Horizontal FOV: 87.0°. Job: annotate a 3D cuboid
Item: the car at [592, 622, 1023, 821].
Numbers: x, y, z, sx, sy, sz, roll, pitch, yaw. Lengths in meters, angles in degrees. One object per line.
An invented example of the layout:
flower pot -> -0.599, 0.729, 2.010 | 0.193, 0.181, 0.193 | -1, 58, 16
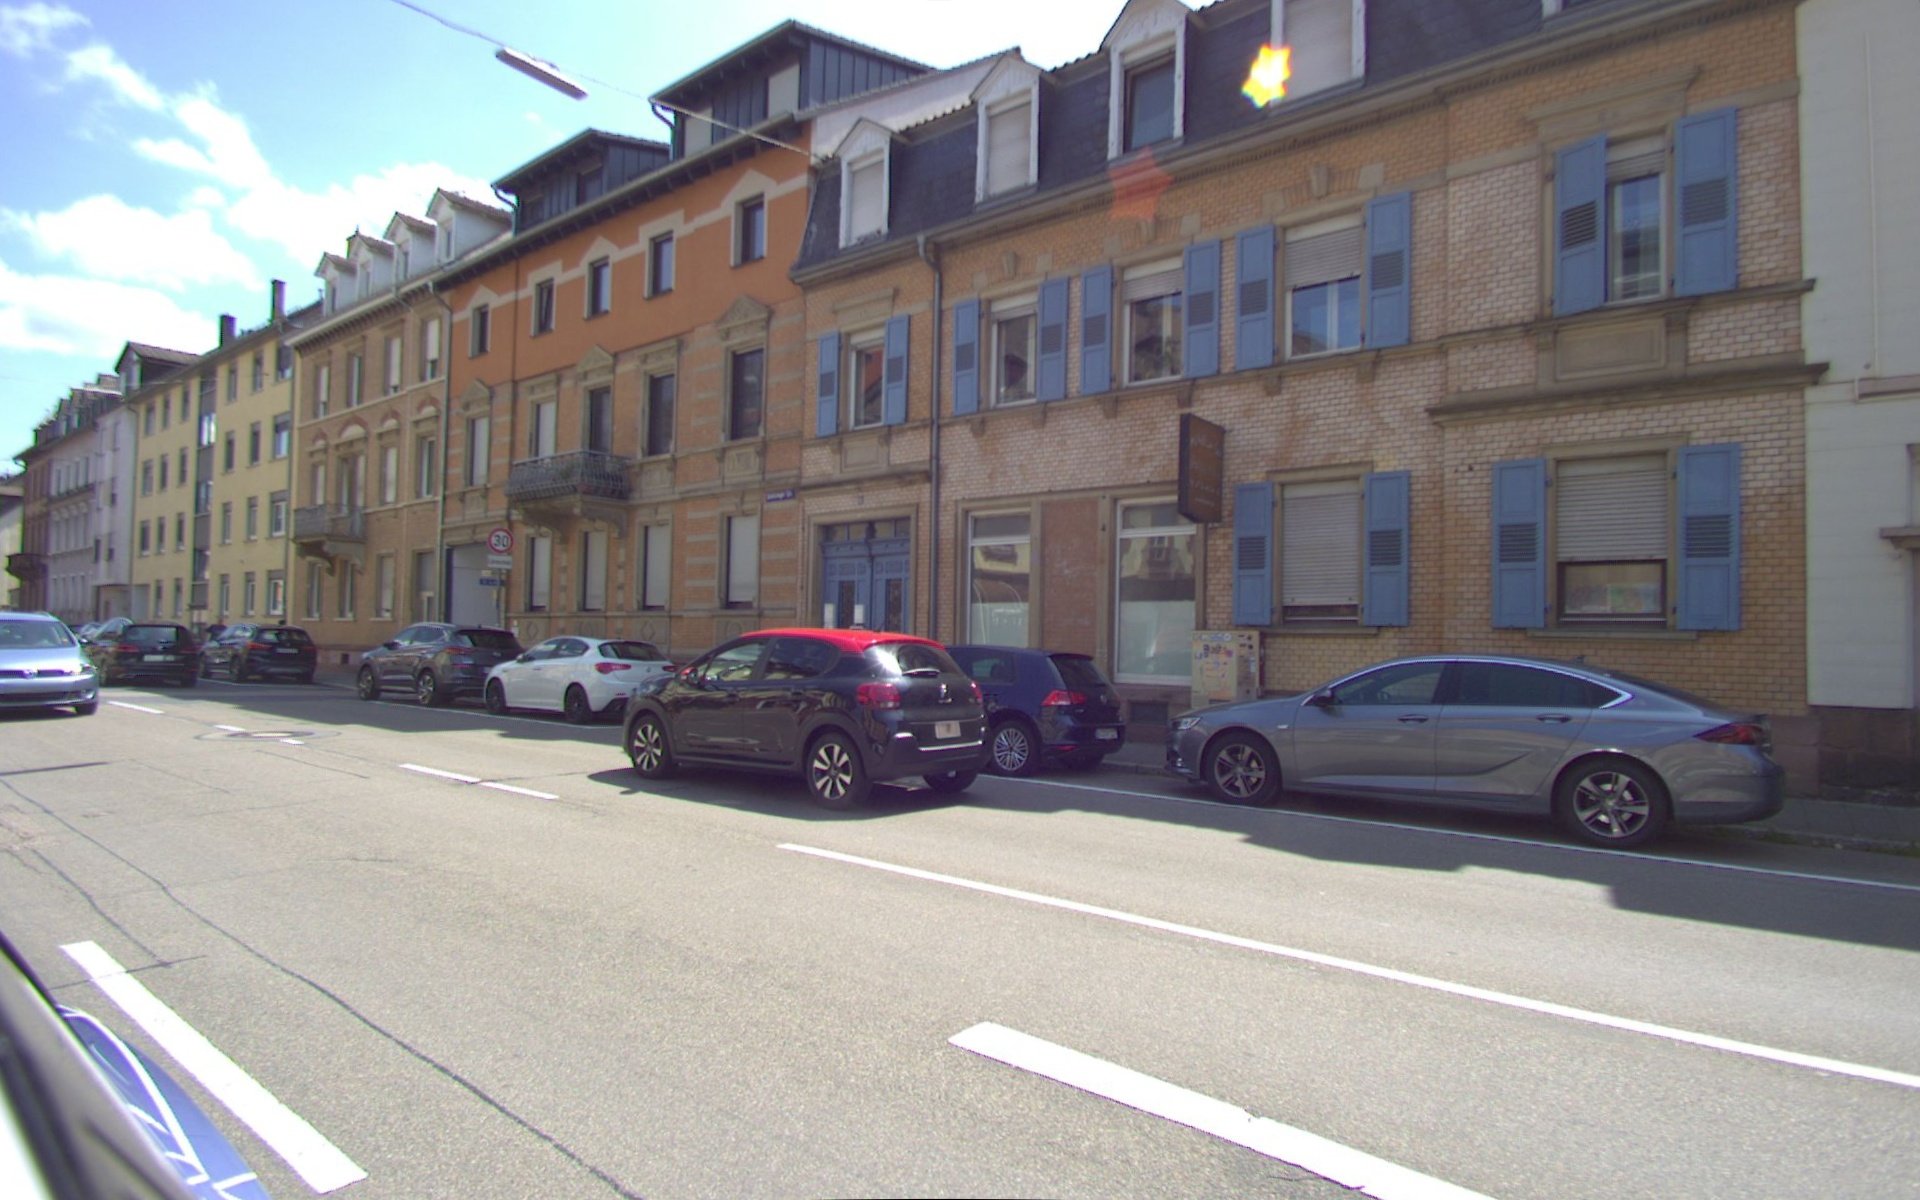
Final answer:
car -> -1.578, 0.988, 9.593 | 4.129, 1.489, 1.685 | -1, -4, 39

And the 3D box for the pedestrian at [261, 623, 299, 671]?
pedestrian -> -22.253, 1.547, 33.110 | 0.876, 1.546, 0.794 | -1, -4, 43

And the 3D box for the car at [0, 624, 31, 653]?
car -> -49.988, 1.949, 52.445 | 4.504, 1.421, 1.729 | 0, -6, 36

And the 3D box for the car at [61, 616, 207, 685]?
car -> -19.866, 1.191, 24.299 | 4.239, 1.506, 1.743 | -1, -4, 38

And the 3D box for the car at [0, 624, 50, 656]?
car -> -45.762, 1.922, 49.071 | 4.280, 1.421, 1.727 | -1, -6, 40

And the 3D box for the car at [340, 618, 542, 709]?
car -> -10.730, 1.278, 20.805 | 4.493, 1.640, 1.847 | -1, -6, 37

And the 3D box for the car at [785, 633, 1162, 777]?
car -> 0.086, 1.220, 12.450 | 4.321, 1.417, 1.848 | 0, -6, 36

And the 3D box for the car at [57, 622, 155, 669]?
car -> -31.930, 1.674, 37.807 | 4.308, 1.563, 1.847 | -1, -6, 39

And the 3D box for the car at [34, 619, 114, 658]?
car -> -35.859, 1.548, 40.938 | 3.911, 1.421, 1.727 | -1, -6, 40

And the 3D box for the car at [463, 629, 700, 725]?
car -> -6.693, 1.319, 17.718 | 4.325, 1.437, 1.847 | -1, -6, 38

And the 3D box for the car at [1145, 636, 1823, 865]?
car -> 4.243, 1.129, 8.830 | 4.828, 1.417, 1.848 | 0, -6, 36

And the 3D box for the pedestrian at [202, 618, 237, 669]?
pedestrian -> -25.827, 1.514, 35.298 | 0.793, 1.769, 0.876 | 4, -4, -43

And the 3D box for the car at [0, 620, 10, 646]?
car -> -54.860, 1.765, 56.517 | 4.096, 1.421, 1.729 | 0, -6, 36

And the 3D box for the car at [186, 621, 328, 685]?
car -> -19.586, 1.443, 28.148 | 4.493, 1.563, 1.847 | -1, -6, 37

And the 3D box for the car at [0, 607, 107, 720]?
car -> -14.800, 0.931, 15.644 | 3.996, 1.580, 1.737 | -1, -2, 39
